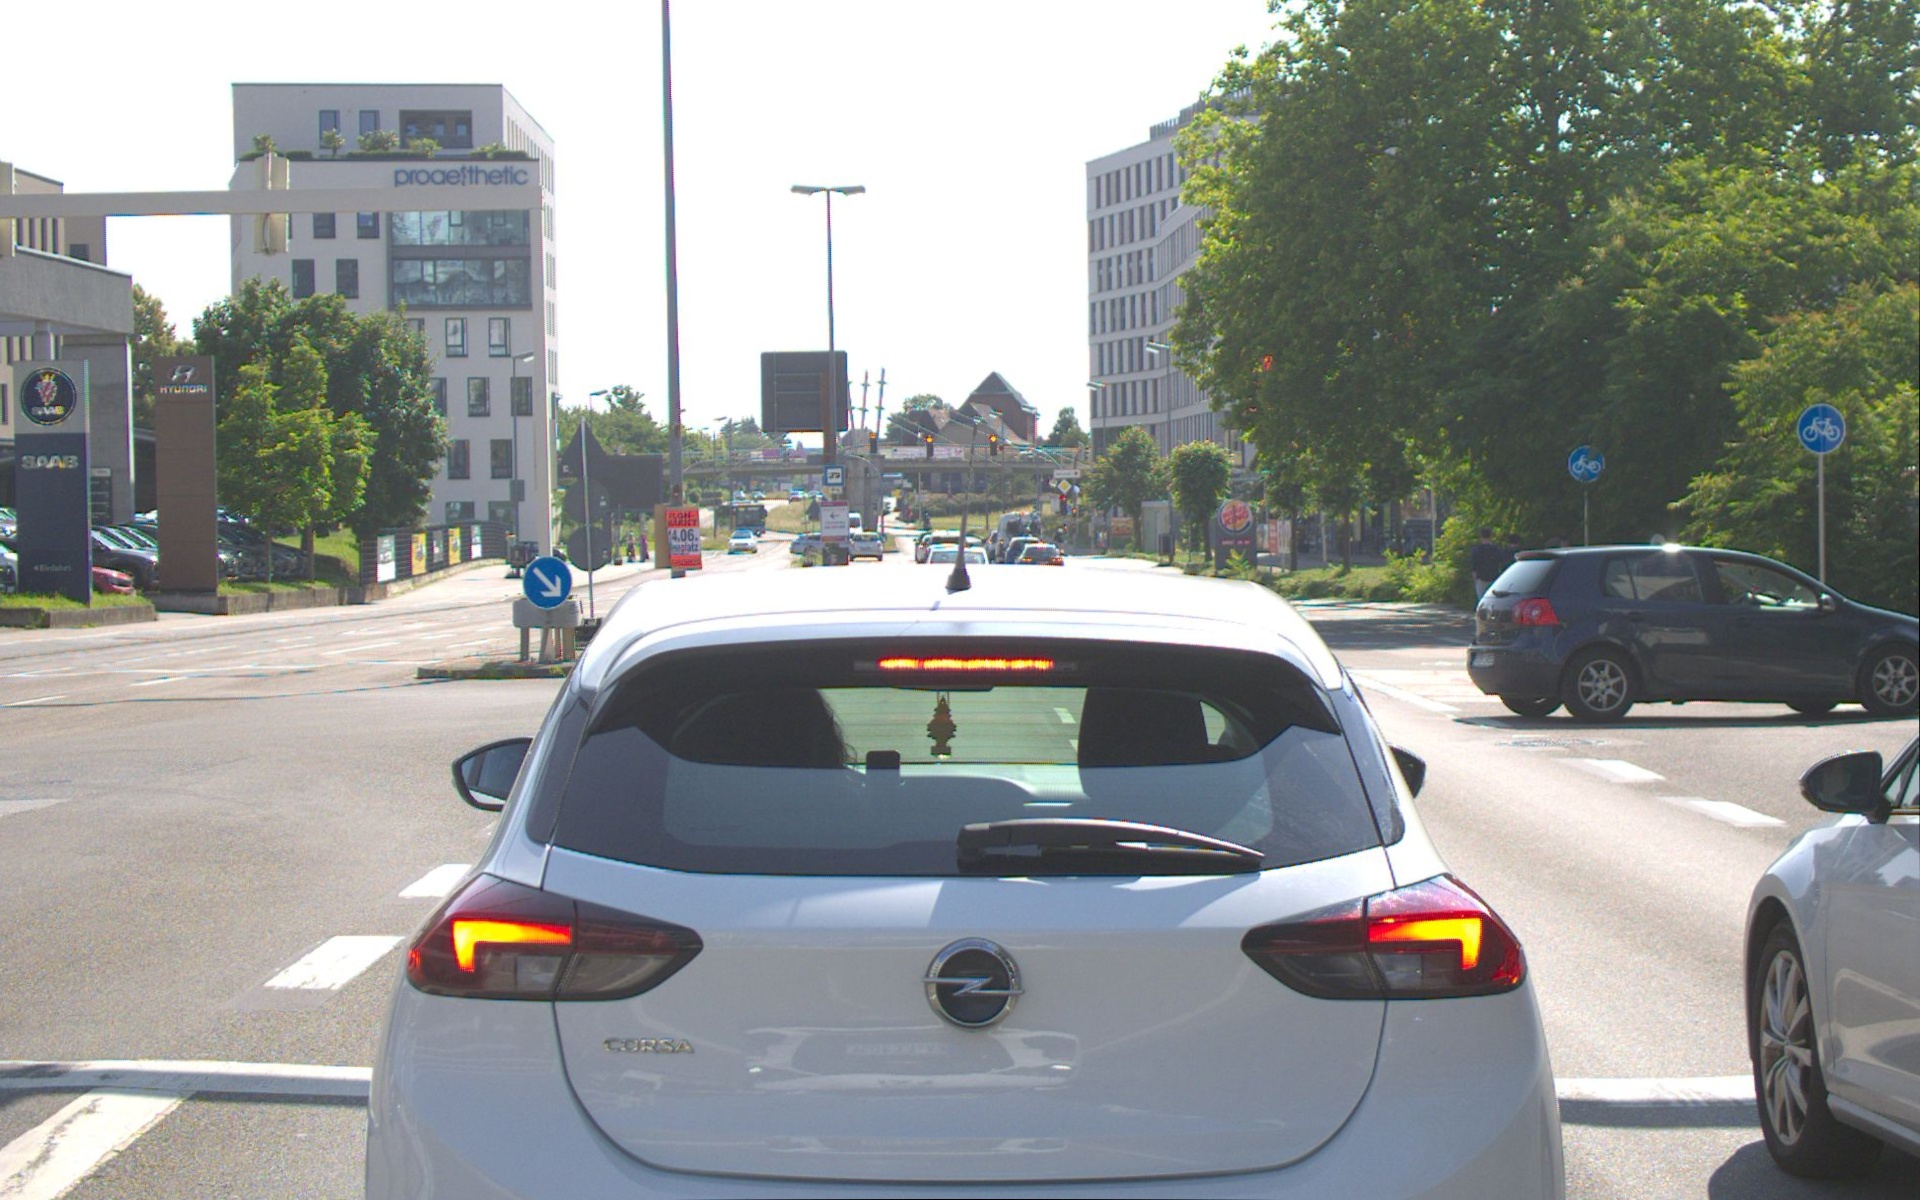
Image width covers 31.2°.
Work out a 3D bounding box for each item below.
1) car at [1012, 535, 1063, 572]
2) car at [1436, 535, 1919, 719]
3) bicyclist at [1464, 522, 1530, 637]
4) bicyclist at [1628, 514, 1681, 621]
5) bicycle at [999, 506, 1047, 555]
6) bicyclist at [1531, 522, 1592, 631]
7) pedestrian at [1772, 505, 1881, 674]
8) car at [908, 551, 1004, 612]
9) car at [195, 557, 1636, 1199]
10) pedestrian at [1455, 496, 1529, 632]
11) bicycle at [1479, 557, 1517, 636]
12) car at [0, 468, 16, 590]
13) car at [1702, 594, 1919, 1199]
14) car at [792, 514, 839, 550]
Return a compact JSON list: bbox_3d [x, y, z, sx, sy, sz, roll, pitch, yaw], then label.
[{"bbox_3d":[2.974,-1.797,133.193,1.806,1.381,4.000,1,0,-1],"label":"car"},{"bbox_3d":[6.236,0.195,29.010,3.986,1.437,2.001,-1,1,-8],"label":"car"},{"bbox_3d":[8.352,-0.329,53.492,0.879,1.766,0.864,-1,1,0],"label":"bicyclist"},{"bbox_3d":[10.644,-0.496,52.685,0.652,1.631,0.659,1,0,0],"label":"bicyclist"},{"bbox_3d":[2.834,-3.130,155.399,1.993,2.150,4.000,-1,1,-1],"label":"bicycle"},{"bbox_3d":[9.119,-0.362,52.164,0.688,1.637,0.777,-1,1,-9],"label":"bicyclist"},{"bbox_3d":[10.476,-0.139,41.607,1.027,2.007,1.039,-1,1,-1],"label":"pedestrian"},{"bbox_3d":[-0.059,-0.416,77.442,1.993,1.327,4.000,1,0,2],"label":"car"},{"bbox_3d":[-0.077,0.687,6.273,1.779,1.489,4.000,-1,1,-1],"label":"car"},{"bbox_3d":[8.807,-0.598,56.946,1.027,2.231,1.039,-1,1,-1],"label":"pedestrian"},{"bbox_3d":[8.371,-0.059,53.504,0.372,1.212,1.154,1,1,-1],"label":"bicycle"},{"bbox_3d":[-22.552,-1.477,73.037,4.357,2.592,2.000,-1,1,5],"label":"car"},{"bbox_3d":[2.861,0.711,6.837,1.807,1.424,4.000,-1,1,-1],"label":"car"},{"bbox_3d":[-5.932,-2.794,141.525,1.806,1.381,4.000,1,0,-1],"label":"car"}]
